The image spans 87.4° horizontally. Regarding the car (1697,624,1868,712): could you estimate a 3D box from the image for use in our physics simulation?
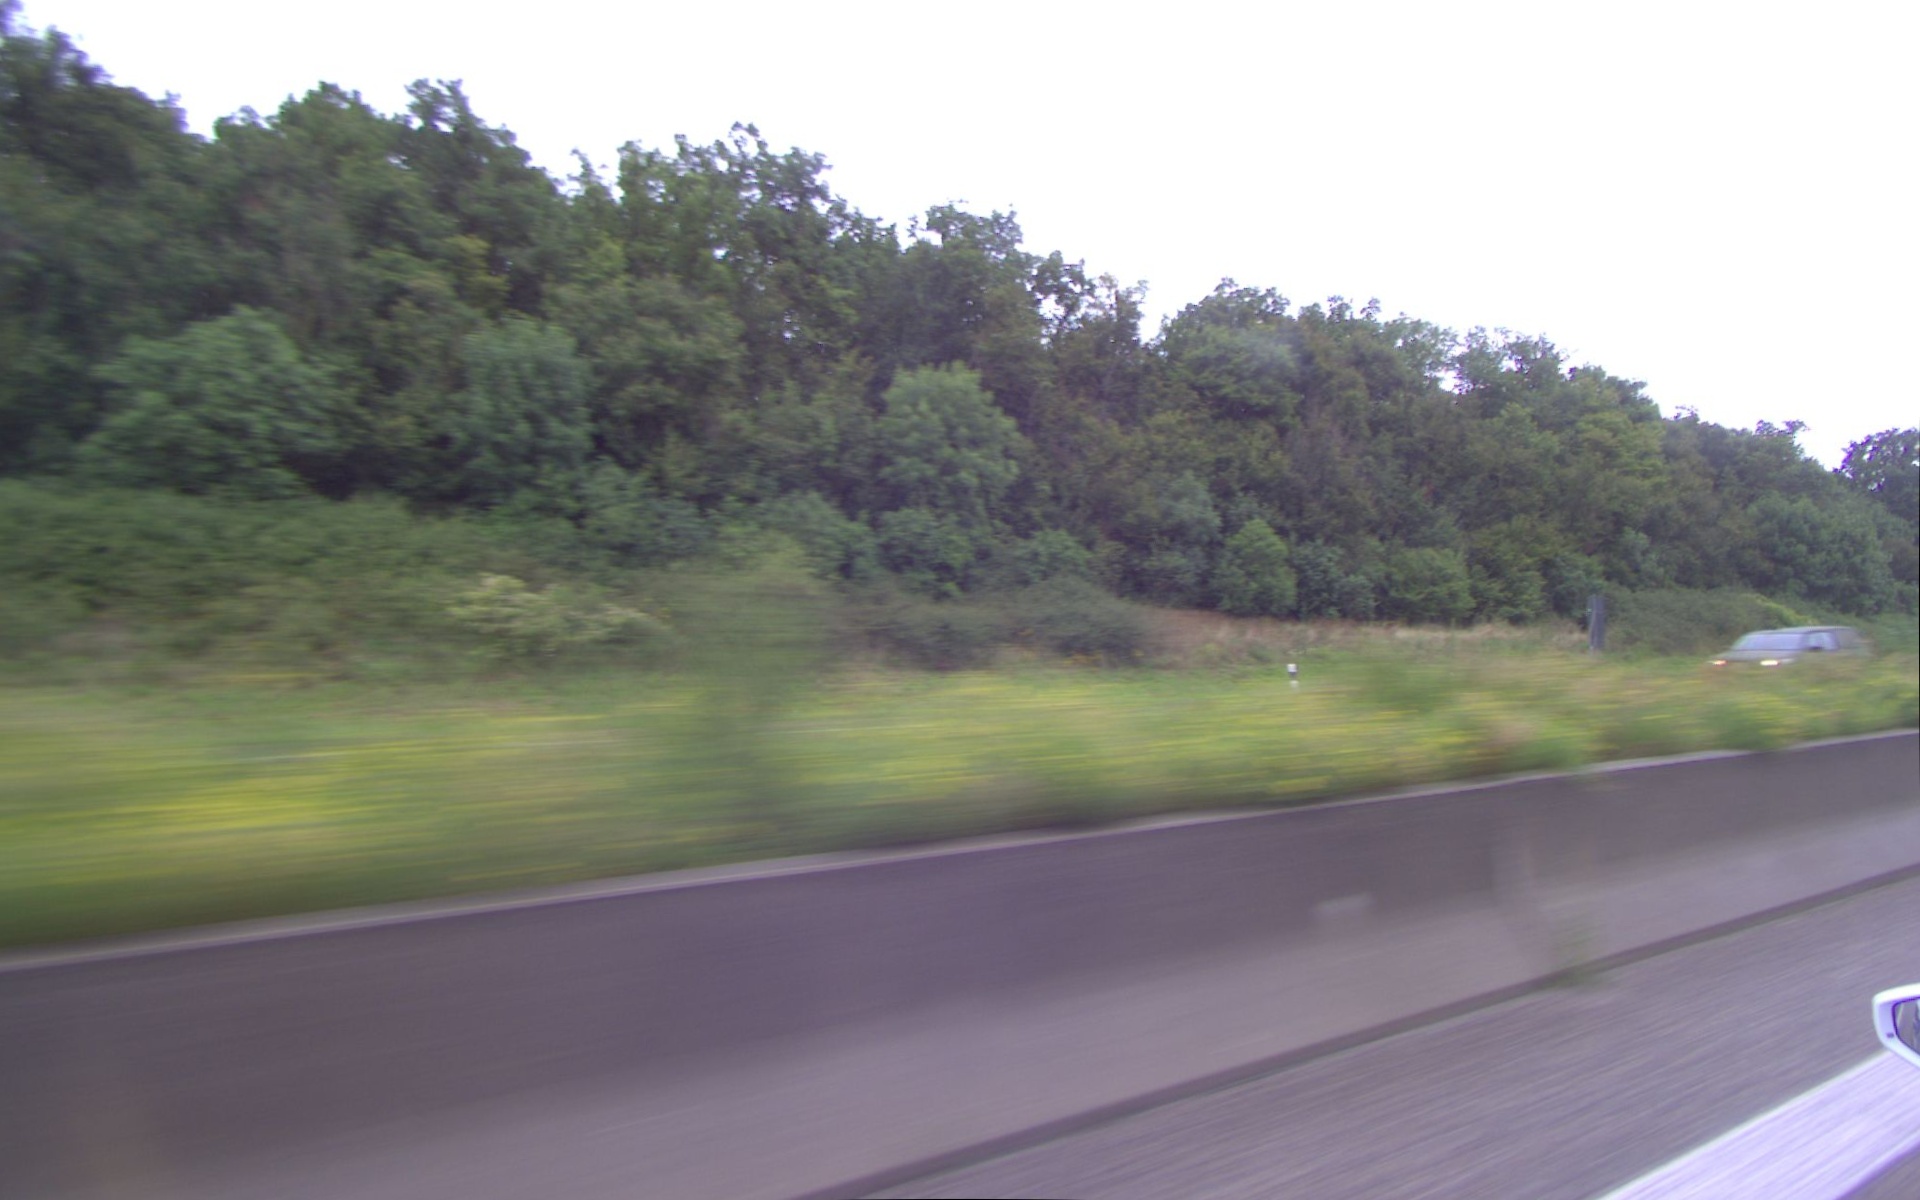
[{"bbox_3d":[20.738,1.629,25.291,4.699,2.040,1.982,1,-2,-33],"label":"car"}]
